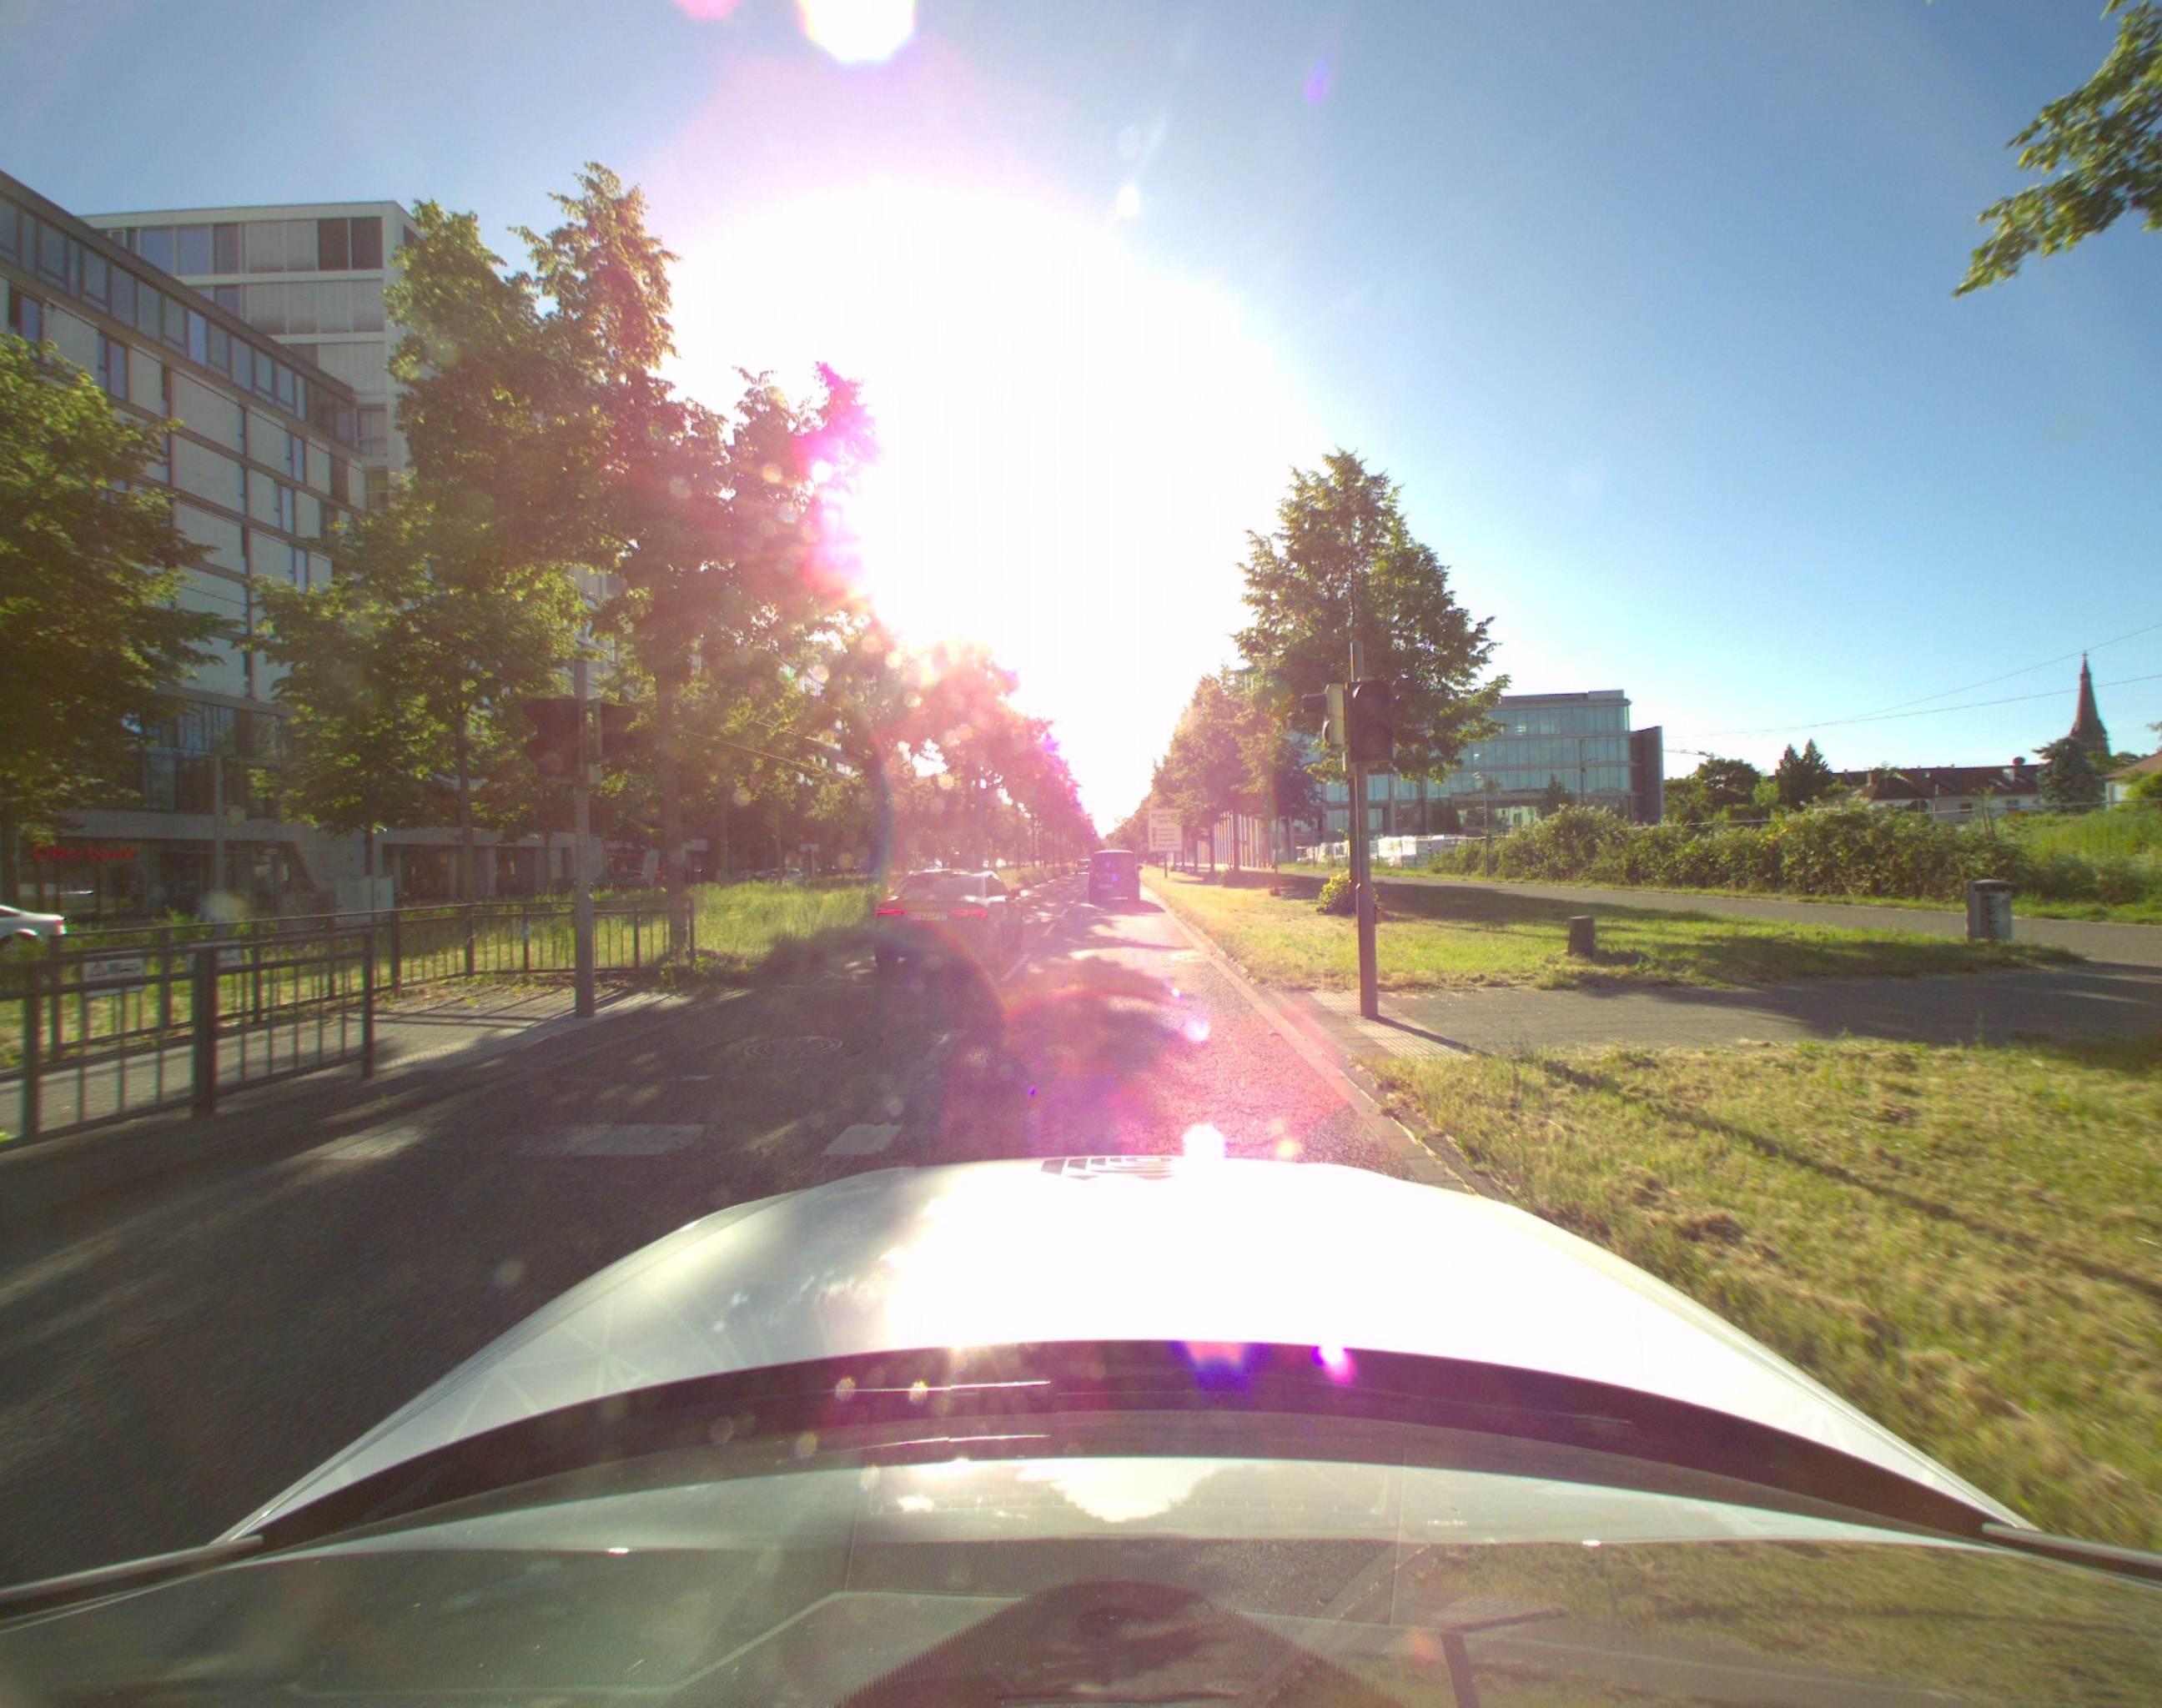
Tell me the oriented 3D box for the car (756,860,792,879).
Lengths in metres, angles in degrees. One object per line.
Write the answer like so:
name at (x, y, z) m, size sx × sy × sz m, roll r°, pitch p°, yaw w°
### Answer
car at (-32.111, 1.585, 85.267) m, size 1.791 × 1.777 × 5.130 m, roll 0°, pitch 0°, yaw 1°

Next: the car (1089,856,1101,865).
car at (2.528, 1.147, 147.118) m, size 1.835 × 1.534 × 3.943 m, roll -2°, pitch 0°, yaw 3°

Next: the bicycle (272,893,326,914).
bicycle at (-36.707, 2.324, 38.274) m, size 0.539 × 0.881 × 2.015 m, roll -1°, pitch -1°, yaw 2°

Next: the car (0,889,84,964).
car at (-21.928, 1.454, 14.868) m, size 1.811 × 1.403 × 4.511 m, roll -2°, pitch 0°, yaw 2°

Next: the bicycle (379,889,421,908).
bicycle at (-36.735, 2.380, 43.966) m, size 0.539 × 0.972 × 1.983 m, roll -1°, pitch -2°, yaw 2°

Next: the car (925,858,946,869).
car at (-18.520, 1.196, 103.654) m, size 1.791 × 1.292 × 4.312 m, roll -2°, pitch 1°, yaw 2°

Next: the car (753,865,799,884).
car at (-21.761, 1.445, 58.219) m, size 1.761 × 1.238 × 3.488 m, roll -2°, pitch 0°, yaw 4°

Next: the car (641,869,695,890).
car at (-28.876, 1.773, 57.013) m, size 1.727 × 1.354 × 3.755 m, roll -2°, pitch 0°, yaw 2°

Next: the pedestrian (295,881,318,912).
pedestrian at (-36.236, 1.980, 38.108) m, size 0.406 × 1.413 × 0.690 m, roll -1°, pitch -2°, yaw 2°

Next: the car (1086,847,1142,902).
car at (1.125, 0.681, 28.859) m, size 1.791 × 1.777 × 4.000 m, roll -2°, pitch 0°, yaw 1°

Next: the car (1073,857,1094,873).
car at (0.262, 1.015, 78.837) m, size 1.936 × 1.441 × 4.000 m, roll -2°, pitch 0°, yaw 0°

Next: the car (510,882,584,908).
car at (-29.663, 2.247, 45.354) m, size 1.662 × 1.207 × 3.584 m, roll -2°, pitch 0°, yaw 2°

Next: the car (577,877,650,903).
car at (-29.253, 2.226, 51.171) m, size 1.661 × 1.420 × 4.807 m, roll -2°, pitch 0°, yaw 2°

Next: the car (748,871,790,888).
car at (-28.216, 2.285, 73.806) m, size 1.708 × 1.420 × 4.549 m, roll -2°, pitch 0°, yaw 4°

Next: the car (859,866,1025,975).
car at (-1.934, 0.885, 12.555) m, size 1.714 × 1.366 × 4.147 m, roll -1°, pitch -1°, yaw 1°

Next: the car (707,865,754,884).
car at (-28.872, 1.663, 67.307) m, size 1.708 × 1.420 × 4.548 m, roll -2°, pitch 0°, yaw 2°
